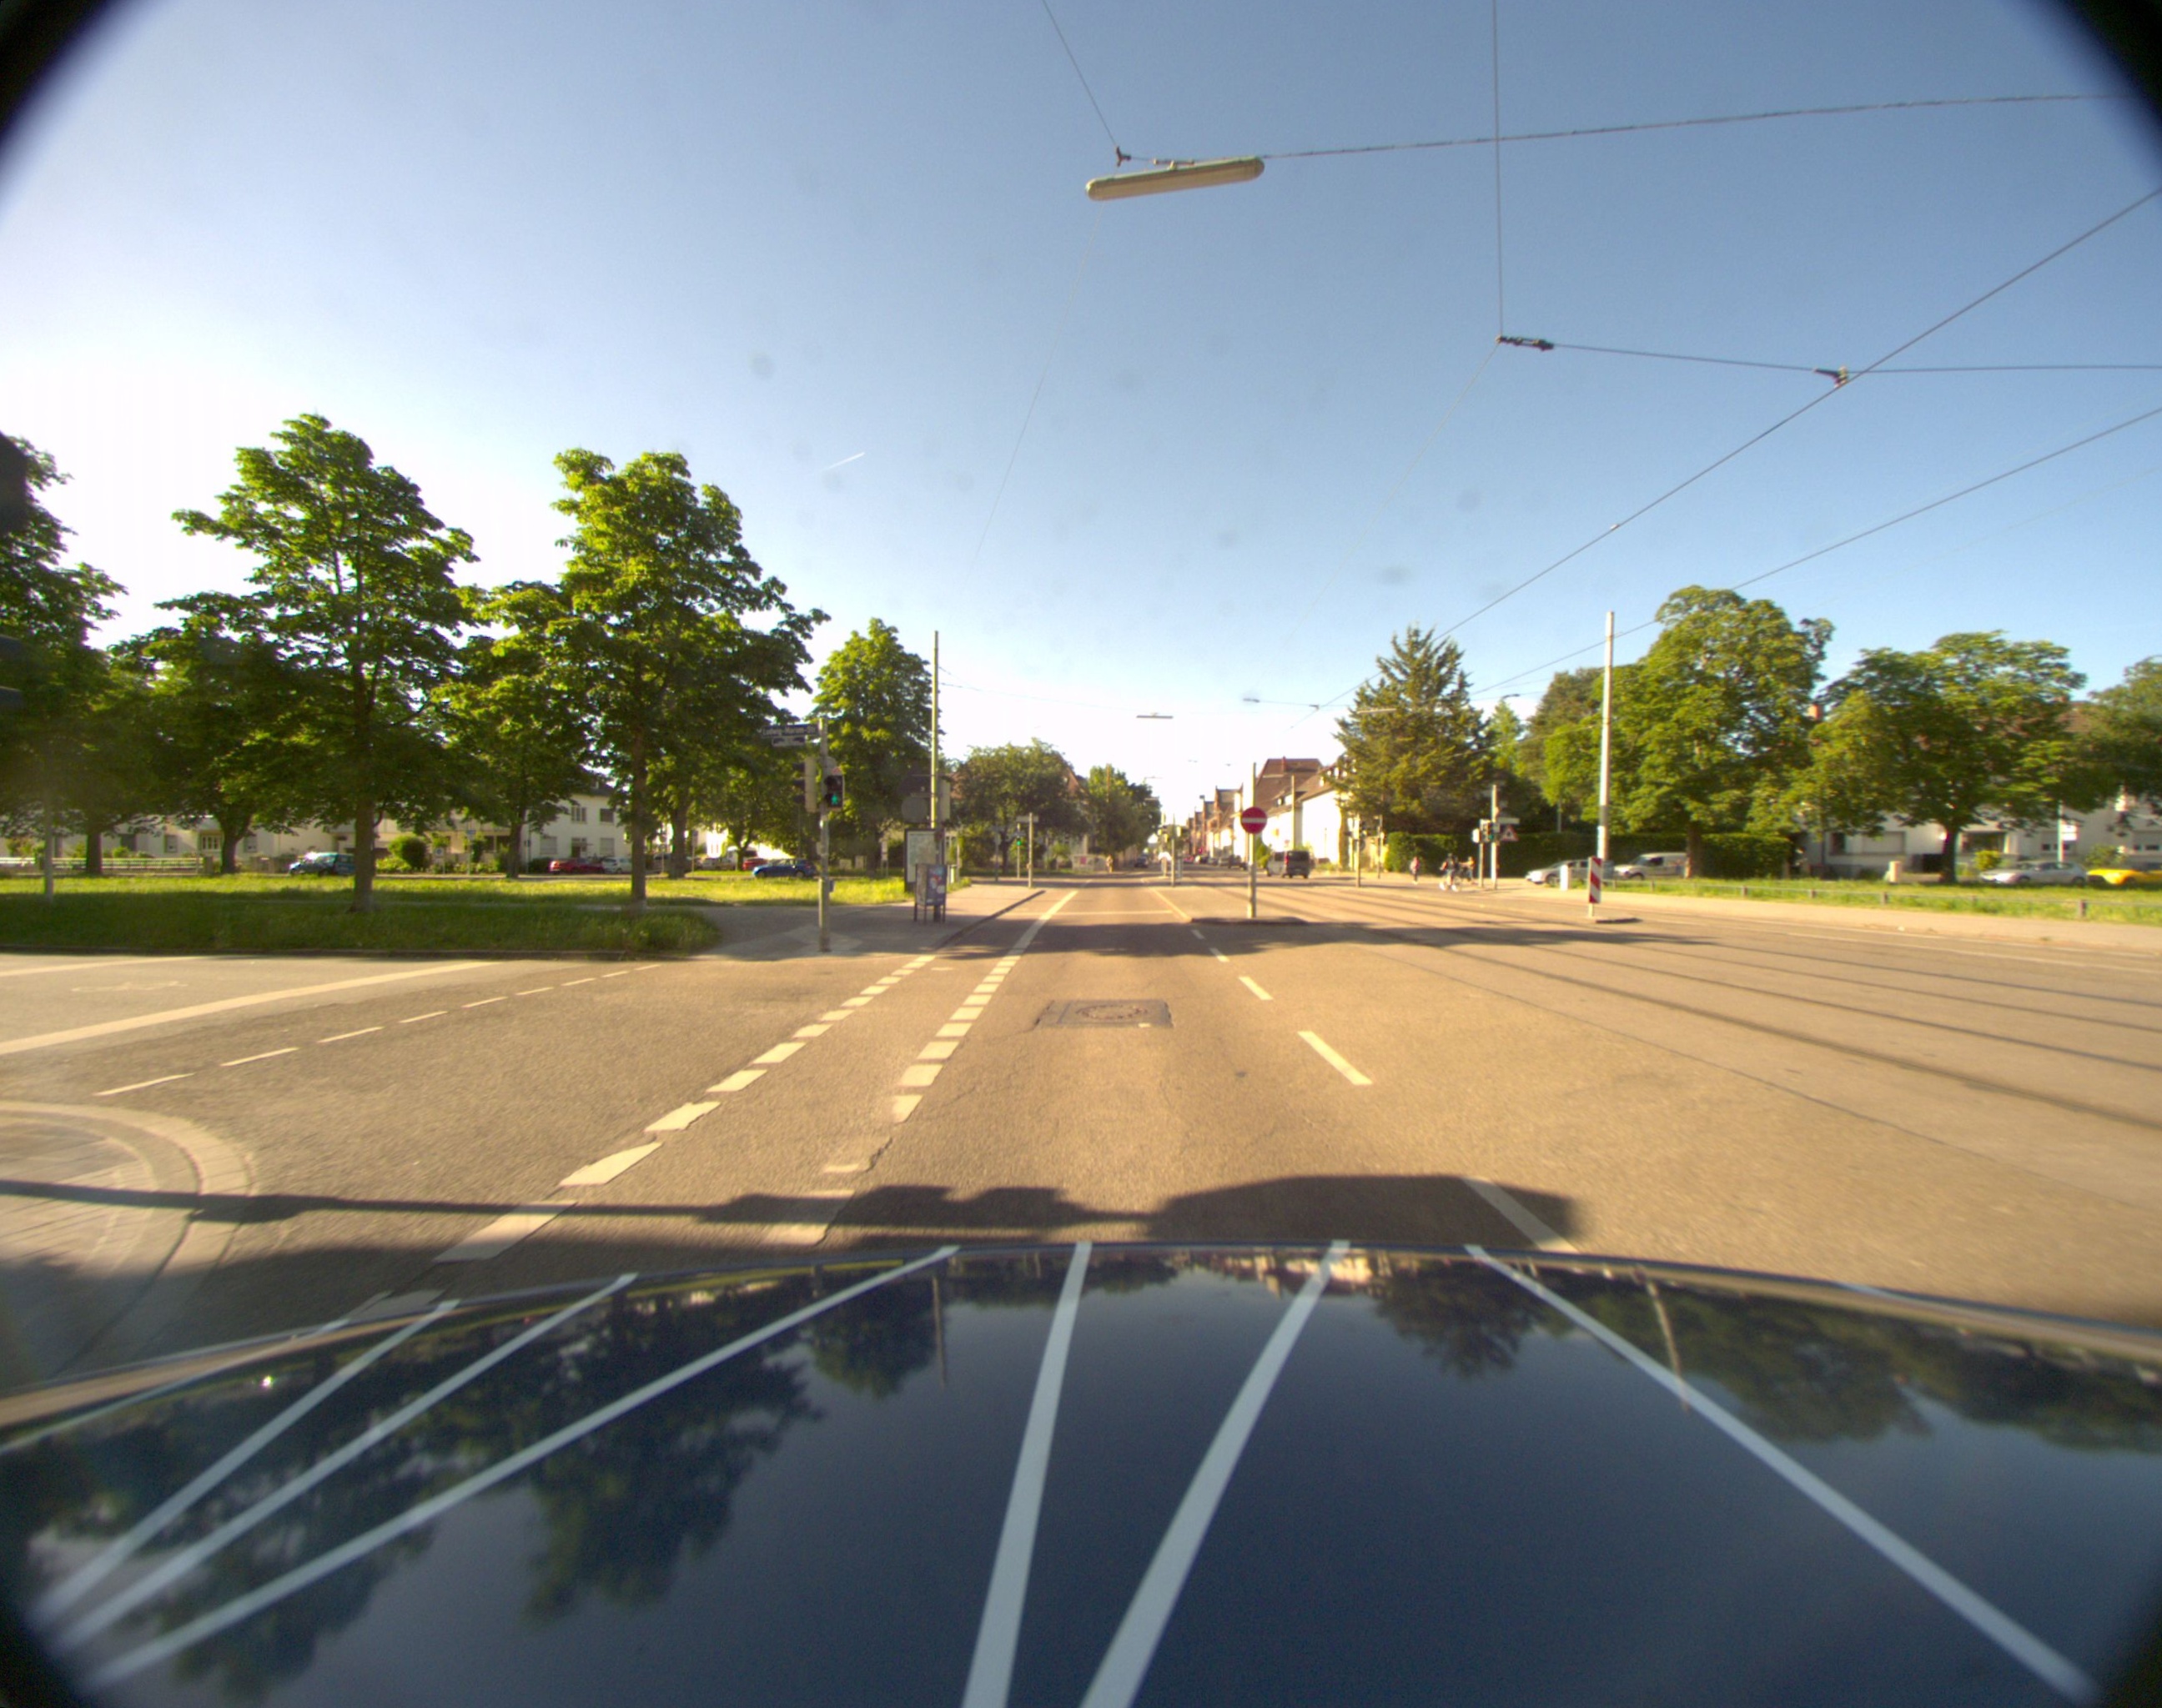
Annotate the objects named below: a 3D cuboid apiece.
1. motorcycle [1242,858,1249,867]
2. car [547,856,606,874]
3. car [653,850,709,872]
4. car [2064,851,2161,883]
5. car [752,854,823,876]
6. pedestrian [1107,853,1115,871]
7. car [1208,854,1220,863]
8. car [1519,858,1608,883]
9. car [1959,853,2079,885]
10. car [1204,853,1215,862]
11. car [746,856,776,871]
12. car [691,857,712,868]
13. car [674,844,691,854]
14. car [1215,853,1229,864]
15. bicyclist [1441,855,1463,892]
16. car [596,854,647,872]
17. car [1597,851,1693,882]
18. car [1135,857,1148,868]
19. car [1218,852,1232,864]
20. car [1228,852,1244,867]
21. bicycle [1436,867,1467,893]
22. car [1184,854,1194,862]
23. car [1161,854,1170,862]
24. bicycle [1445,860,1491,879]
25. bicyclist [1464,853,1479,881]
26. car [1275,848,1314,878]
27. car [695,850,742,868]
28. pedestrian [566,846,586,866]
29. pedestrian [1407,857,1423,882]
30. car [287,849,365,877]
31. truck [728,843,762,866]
[{"bbox_3d":[19.833,0.978,91.804,0.605,1.040,2.439,-2,0,8],"label":"motorcycle"},{"bbox_3d":[-40.517,0.867,61.116,1.757,1.462,3.899,0,0,8],"label":"car"},{"bbox_3d":[-33.447,0.564,63.654,1.920,1.825,4.345,0,0,10],"label":"car"},{"bbox_3d":[58.293,0.719,42.475,3.881,1.732,1.817,0,0,8],"label":"car"},{"bbox_3d":[-19.363,0.721,50.218,3.996,1.425,1.817,0,0,4],"label":"car"},{"bbox_3d":[2.796,0.735,70.785,0.654,1.664,0.944,1,0,8],"label":"pedestrian"},{"bbox_3d":[24.883,0.807,142.435,1.923,1.555,4.003,-2,0,8],"label":"car"},{"bbox_3d":[27.959,0.927,44.164,3.993,1.425,1.818,0,0,11],"label":"car"},{"bbox_3d":[53.414,0.832,43.334,4.195,1.732,1.818,0,0,8],"label":"car"},{"bbox_3d":[26.512,0.667,156.828,1.923,1.704,4.003,-2,-1,9],"label":"car"},{"bbox_3d":[-31.836,0.974,75.710,1.607,1.525,4.281,0,-1,-6],"label":"car"},{"bbox_3d":[-51.949,1.185,103.957,1.763,1.462,3.886,0,0,-38],"label":"car"},{"bbox_3d":[-61.673,-0.747,117.582,1.763,1.462,3.886,0,0,-38],"label":"car"},{"bbox_3d":[23.601,0.737,127.198,1.923,1.704,4.002,-2,0,6],"label":"car"},{"bbox_3d":[17.174,0.886,35.172,0.588,1.701,0.901,1,0,3],"label":"bicyclist"},{"bbox_3d":[-40.032,0.758,66.288,1.757,1.462,3.899,0,0,8],"label":"car"},{"bbox_3d":[34.021,0.756,45.959,4.309,1.856,1.817,0,0,8],"label":"car"},{"bbox_3d":[8.397,1.167,104.991,1.704,1.541,4.002,-2,0,6],"label":"car"},{"bbox_3d":[22.971,0.640,121.149,1.923,1.704,4.002,-2,0,6],"label":"car"},{"bbox_3d":[21.731,0.757,106.609,1.923,1.889,4.003,-2,0,8],"label":"car"},{"bbox_3d":[17.178,1.189,35.242,0.588,1.107,1.827,1,0,3],"label":"bicycle"},{"bbox_3d":[22.356,0.832,157.086,1.922,1.704,4.003,-2,0,9],"label":"car"},{"bbox_3d":[19.145,0.974,171.514,1.923,1.704,4.003,-2,0,8],"label":"car"},{"bbox_3d":[23.081,0.903,45.401,2.283,1.111,0.931,0,0,13],"label":"bicycle"},{"bbox_3d":[23.291,0.772,45.342,0.559,1.613,0.899,0,0,13],"label":"bicyclist"},{"bbox_3d":[15.234,0.656,54.546,2.023,2.001,5.255,1,-1,8],"label":"car"},{"bbox_3d":[-32.803,0.449,68.873,1.919,1.638,3.717,0,0,15],"label":"car"},{"bbox_3d":[-43.872,0.167,66.030,1.024,1.758,0.900,-2,0,8],"label":"pedestrian"},{"bbox_3d":[20.397,0.942,46.406,0.680,1.547,0.622,-2,0,-43],"label":"pedestrian"},{"bbox_3d":[-54.684,0.625,55.064,3.994,1.815,1.817,-2,2,8],"label":"car"},{"bbox_3d":[-38.330,0.079,86.618,2.004,2.561,4.966,0,0,-44],"label":"truck"}]
